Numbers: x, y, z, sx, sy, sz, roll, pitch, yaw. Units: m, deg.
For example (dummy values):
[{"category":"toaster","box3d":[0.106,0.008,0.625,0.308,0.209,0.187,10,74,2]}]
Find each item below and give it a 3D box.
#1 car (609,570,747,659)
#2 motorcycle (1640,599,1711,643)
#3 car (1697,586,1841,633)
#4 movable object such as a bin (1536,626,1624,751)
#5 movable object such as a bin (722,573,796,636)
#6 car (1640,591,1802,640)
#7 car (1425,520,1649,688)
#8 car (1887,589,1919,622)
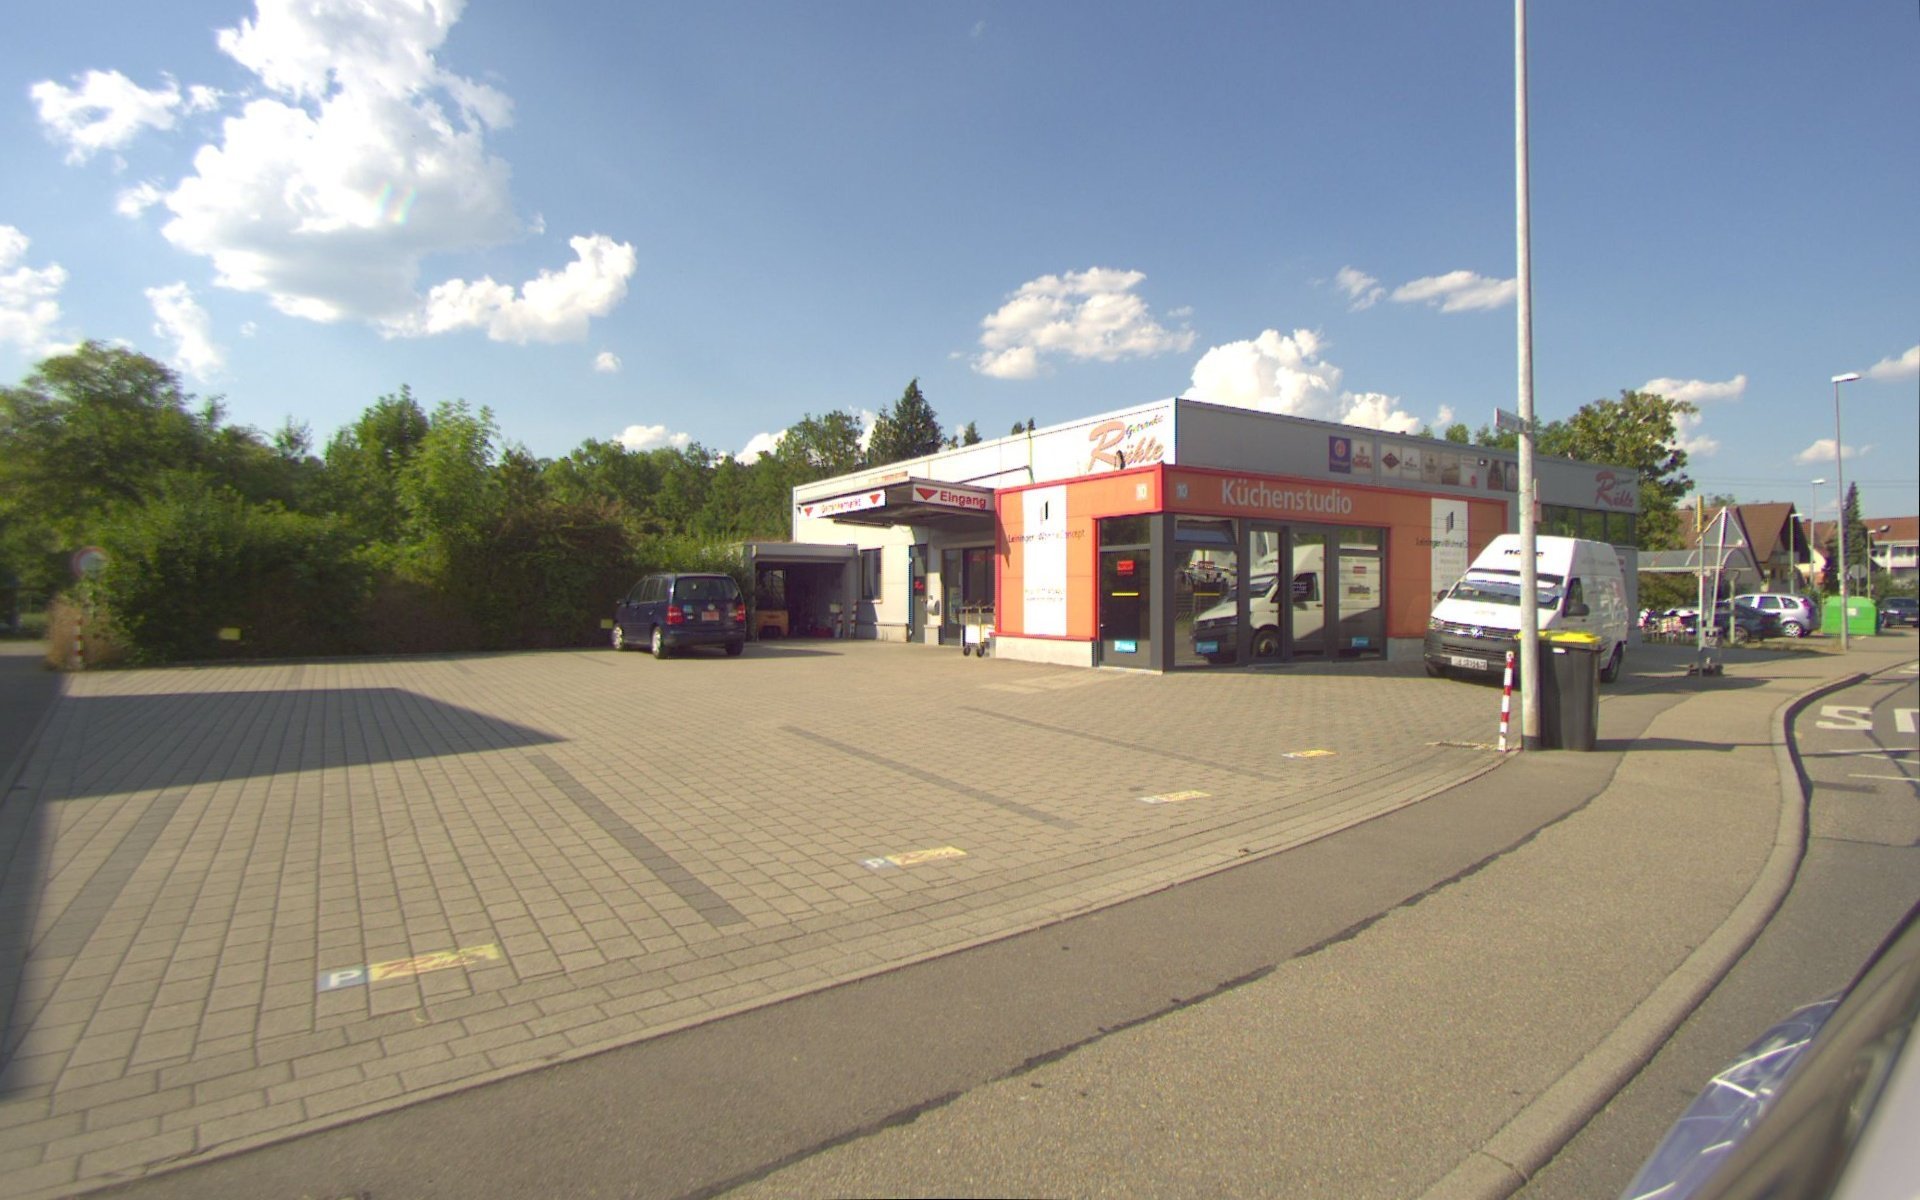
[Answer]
[{"category":"car","box3d":[-5.792,0.233,20.539,1.609,1.615,3.644,-1,1,-34]},{"category":"motorcycle","box3d":[23.434,0.674,33.183,1.818,1.340,0.633,2,1,33]},{"category":"car","box3d":[29.954,0.307,37.556,1.653,1.623,3.948,-1,1,-39]},{"category":"movable object such as a bin","box3d":[5.825,0.808,9.510,0.563,1.088,0.567,1,0,-45]},{"category":"movable object such as a bin","box3d":[-5.621,0.107,28.091,1.153,1.669,3.026,0,0,-29]},{"category":"car","box3d":[25.517,0.467,34.042,1.596,1.434,4.076,0,2,-37]},{"category":"car","box3d":[9.799,0.012,16.986,5.093,2.404,1.838,0,3,-44]},{"category":"car","box3d":[51.285,0.293,54.401,1.966,1.677,3.942,2,2,40]}]
